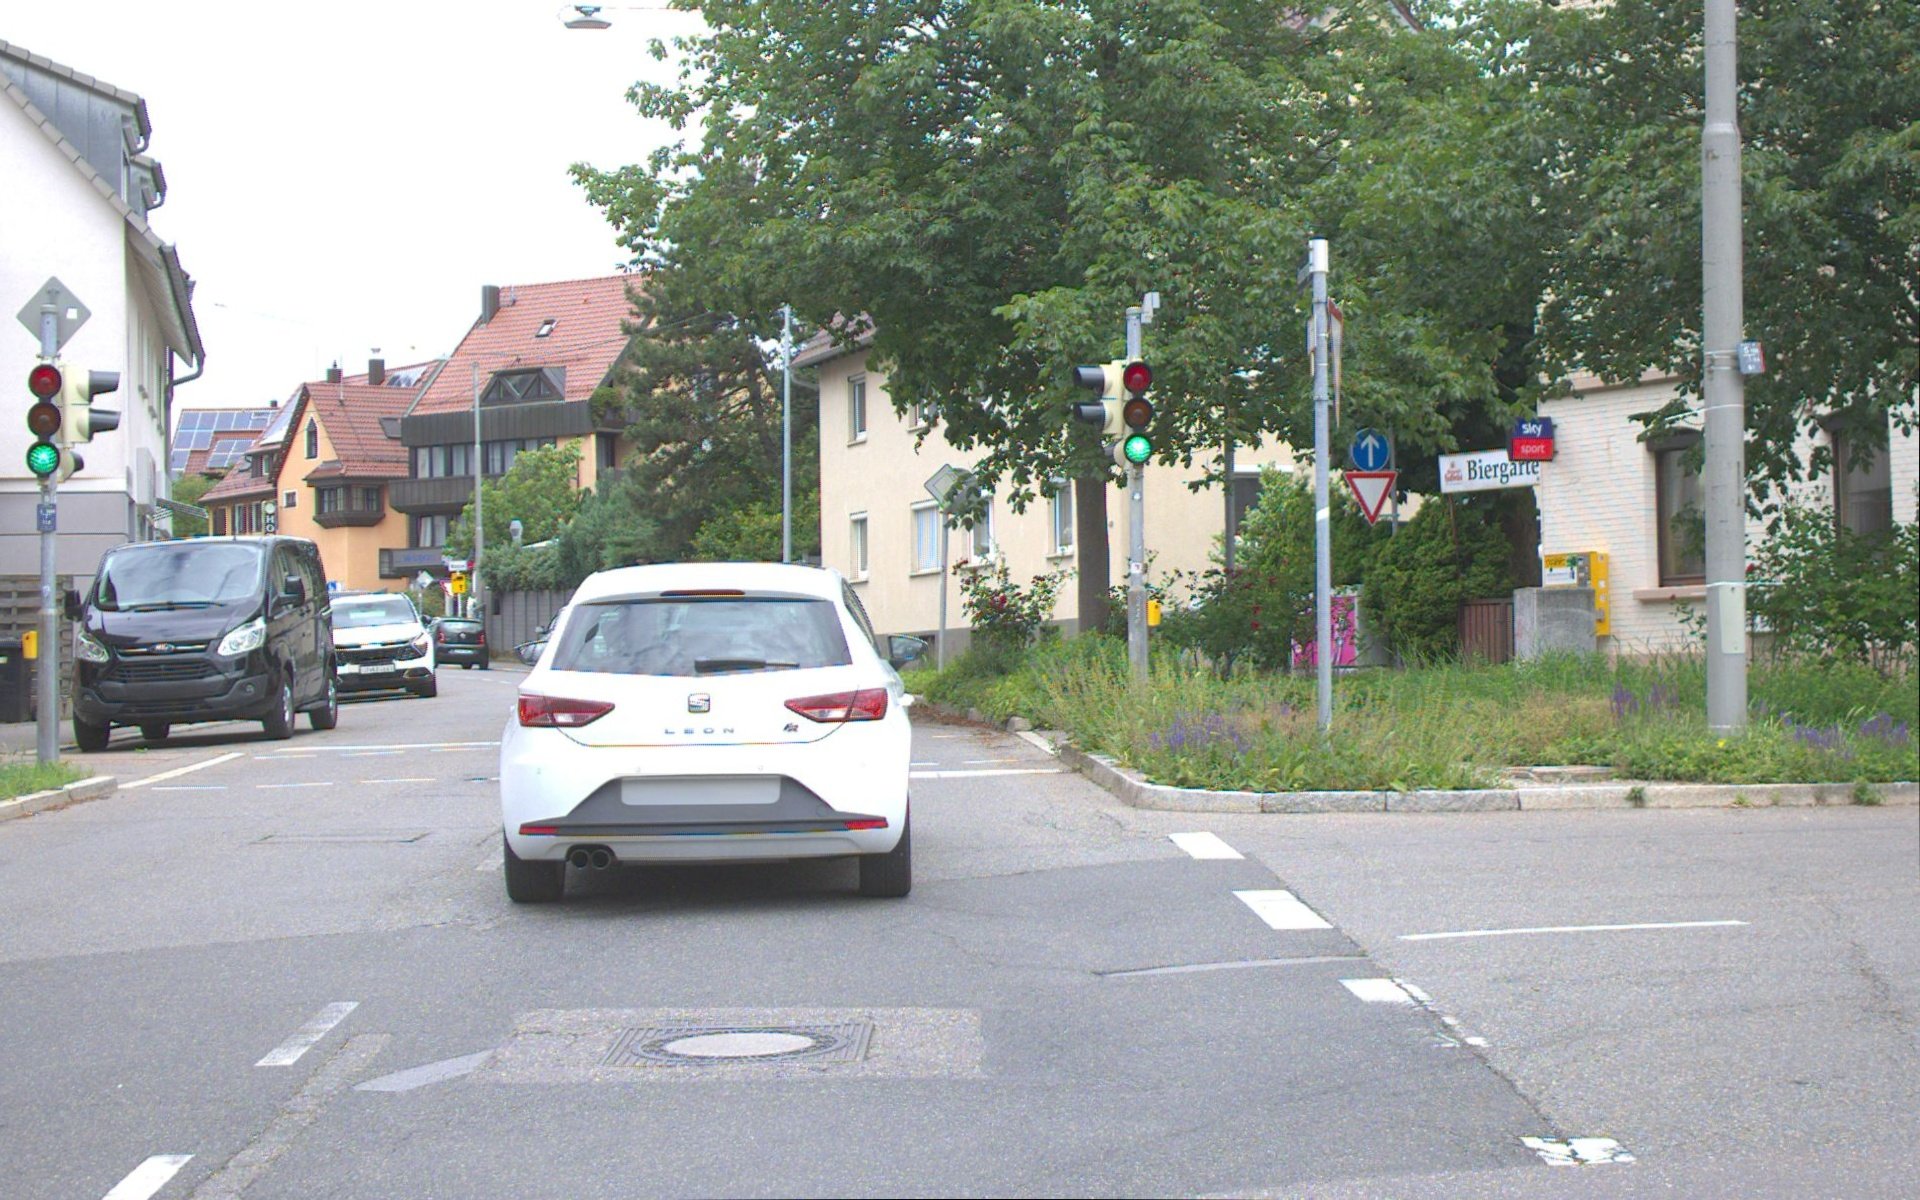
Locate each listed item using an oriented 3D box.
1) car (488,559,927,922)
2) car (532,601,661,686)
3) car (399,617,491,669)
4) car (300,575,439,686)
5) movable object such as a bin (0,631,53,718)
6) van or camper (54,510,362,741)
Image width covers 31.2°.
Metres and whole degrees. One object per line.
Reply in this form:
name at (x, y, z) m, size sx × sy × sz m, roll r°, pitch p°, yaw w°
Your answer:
car at (-1.060, 0.543, 15.849) m, size 1.758 × 1.447 × 4.000 m, roll 0°, pitch 1°, yaw -1°
car at (-6.485, 0.772, 61.026) m, size 1.758 × 1.447 × 4.001 m, roll 0°, pitch -1°, yaw -14°
car at (-14.634, 1.217, 97.622) m, size 1.758 × 1.447 × 4.001 m, roll 0°, pitch -1°, yaw -21°
car at (-9.107, 0.468, 52.999) m, size 1.997 × 1.627 × 4.859 m, roll 0°, pitch 0°, yaw -10°
movable object such as a bin at (-11.443, 0.902, 41.811) m, size 0.665 × 1.014 × 0.795 m, roll -1°, pitch 1°, yaw -6°
van or camper at (-7.210, 0.287, 33.478) m, size 2.073 × 1.999 × 4.857 m, roll -2°, pitch -1°, yaw -3°
